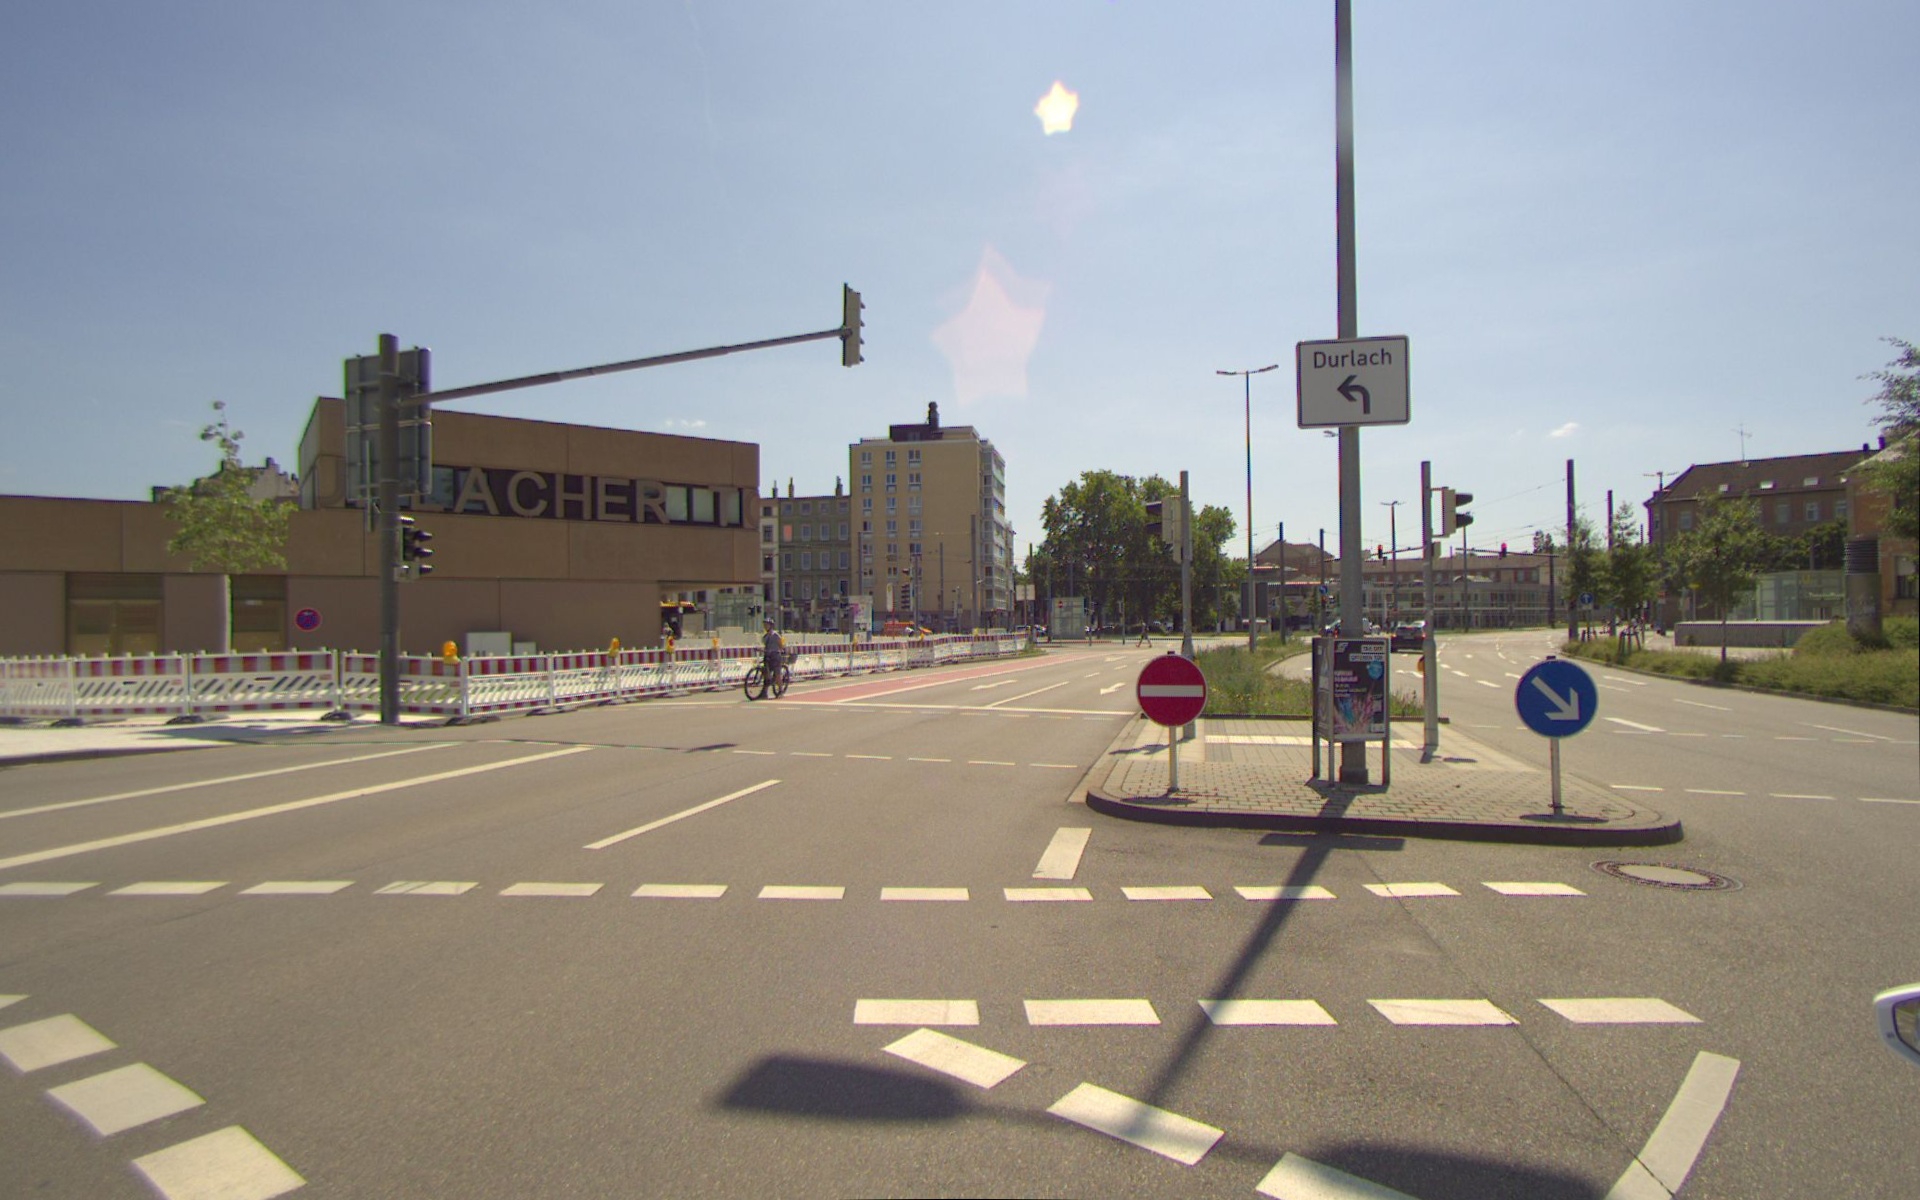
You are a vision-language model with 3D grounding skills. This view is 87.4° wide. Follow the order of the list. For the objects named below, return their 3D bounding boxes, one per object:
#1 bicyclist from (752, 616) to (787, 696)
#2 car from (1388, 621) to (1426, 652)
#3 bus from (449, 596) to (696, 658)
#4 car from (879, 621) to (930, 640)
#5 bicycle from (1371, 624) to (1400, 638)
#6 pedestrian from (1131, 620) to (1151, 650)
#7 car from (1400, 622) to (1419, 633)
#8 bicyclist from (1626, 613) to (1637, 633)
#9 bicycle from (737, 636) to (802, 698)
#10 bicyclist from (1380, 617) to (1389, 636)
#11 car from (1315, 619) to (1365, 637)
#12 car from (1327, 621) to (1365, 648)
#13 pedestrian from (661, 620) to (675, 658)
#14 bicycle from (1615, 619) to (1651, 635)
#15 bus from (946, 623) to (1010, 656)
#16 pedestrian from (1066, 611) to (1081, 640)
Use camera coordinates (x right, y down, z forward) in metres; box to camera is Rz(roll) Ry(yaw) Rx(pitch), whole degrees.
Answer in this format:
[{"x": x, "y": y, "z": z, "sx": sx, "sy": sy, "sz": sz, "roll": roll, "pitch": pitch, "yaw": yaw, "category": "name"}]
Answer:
[{"x": -3.861, "y": 1.128, "z": 20.369, "sx": 0.520, "sy": 1.600, "sz": 0.498, "roll": 0, "pitch": -2, "yaw": 16, "category": "bicyclist"}, {"x": 23.956, "y": 1.917, "z": 53.770, "sx": 1.690, "sy": 1.577, "sz": 4.582, "roll": -1, "pitch": -2, "yaw": 26, "category": "car"}, {"x": -20.956, "y": 1.458, "z": 55.065, "sx": 12.139, "sy": 3.081, "sz": 3.700, "roll": 1, "pitch": -2, "yaw": -37, "category": "bus"}, {"x": -5.256, "y": 2.894, "z": 95.381, "sx": 4.544, "sy": 1.635, "sz": 1.676, "roll": -1, "pitch": 1, "yaw": 12, "category": "car"}, {"x": 44.039, "y": 3.188, "z": 103.873, "sx": 2.729, "sy": 1.404, "sz": 0.670, "roll": 0, "pitch": 1, "yaw": 20, "category": "bicycle"}, {"x": 12.374, "y": 2.386, "z": 68.620, "sx": 1.160, "sy": 1.959, "sz": 0.902, "roll": 0, "pitch": 1, "yaw": 21, "category": "pedestrian"}, {"x": 56.334, "y": 3.425, "z": 125.902, "sx": 1.414, "sy": 1.303, "sz": 3.246, "roll": 0, "pitch": 1, "yaw": 39, "category": "car"}, {"x": 64.542, "y": 2.210, "z": 96.526, "sx": 0.751, "sy": 1.964, "sz": 0.659, "roll": 0, "pitch": 1, "yaw": 26, "category": "bicyclist"}, {"x": -3.843, "y": 1.335, "z": 20.433, "sx": 0.514, "sy": 1.196, "sz": 1.899, "roll": -1, "pitch": -2, "yaw": 15, "category": "bicycle"}, {"x": 43.893, "y": 2.716, "z": 103.912, "sx": 0.832, "sy": 1.992, "sz": 0.626, "roll": 0, "pitch": 1, "yaw": 20, "category": "bicyclist"}, {"x": 36.880, "y": 2.717, "z": 97.549, "sx": 4.233, "sy": 1.649, "sz": 1.815, "roll": -1, "pitch": 1, "yaw": 7, "category": "car"}, {"x": 21.549, "y": 1.899, "z": 56.026, "sx": 1.596, "sy": 1.482, "sz": 3.995, "roll": -1, "pitch": -1, "yaw": 27, "category": "car"}, {"x": -15.637, "y": 2.087, "z": 53.762, "sx": 0.654, "sy": 2.022, "sz": 0.608, "roll": -1, "pitch": 1, "yaw": -23, "category": "pedestrian"}, {"x": 64.622, "y": 2.580, "z": 96.493, "sx": 2.781, "sy": 1.483, "sz": 0.633, "roll": 0, "pitch": 1, "yaw": 26, "category": "bicycle"}, {"x": 0.929, "y": 1.829, "z": 47.808, "sx": 1.223, "sy": 1.266, "sz": 5.819, "roll": 0, "pitch": 1, "yaw": 20, "category": "bus"}, {"x": 11.916, "y": 2.621, "z": 105.182, "sx": 1.194, "sy": 2.978, "sz": 1.335, "roll": 0, "pitch": 1, "yaw": 24, "category": "pedestrian"}]
